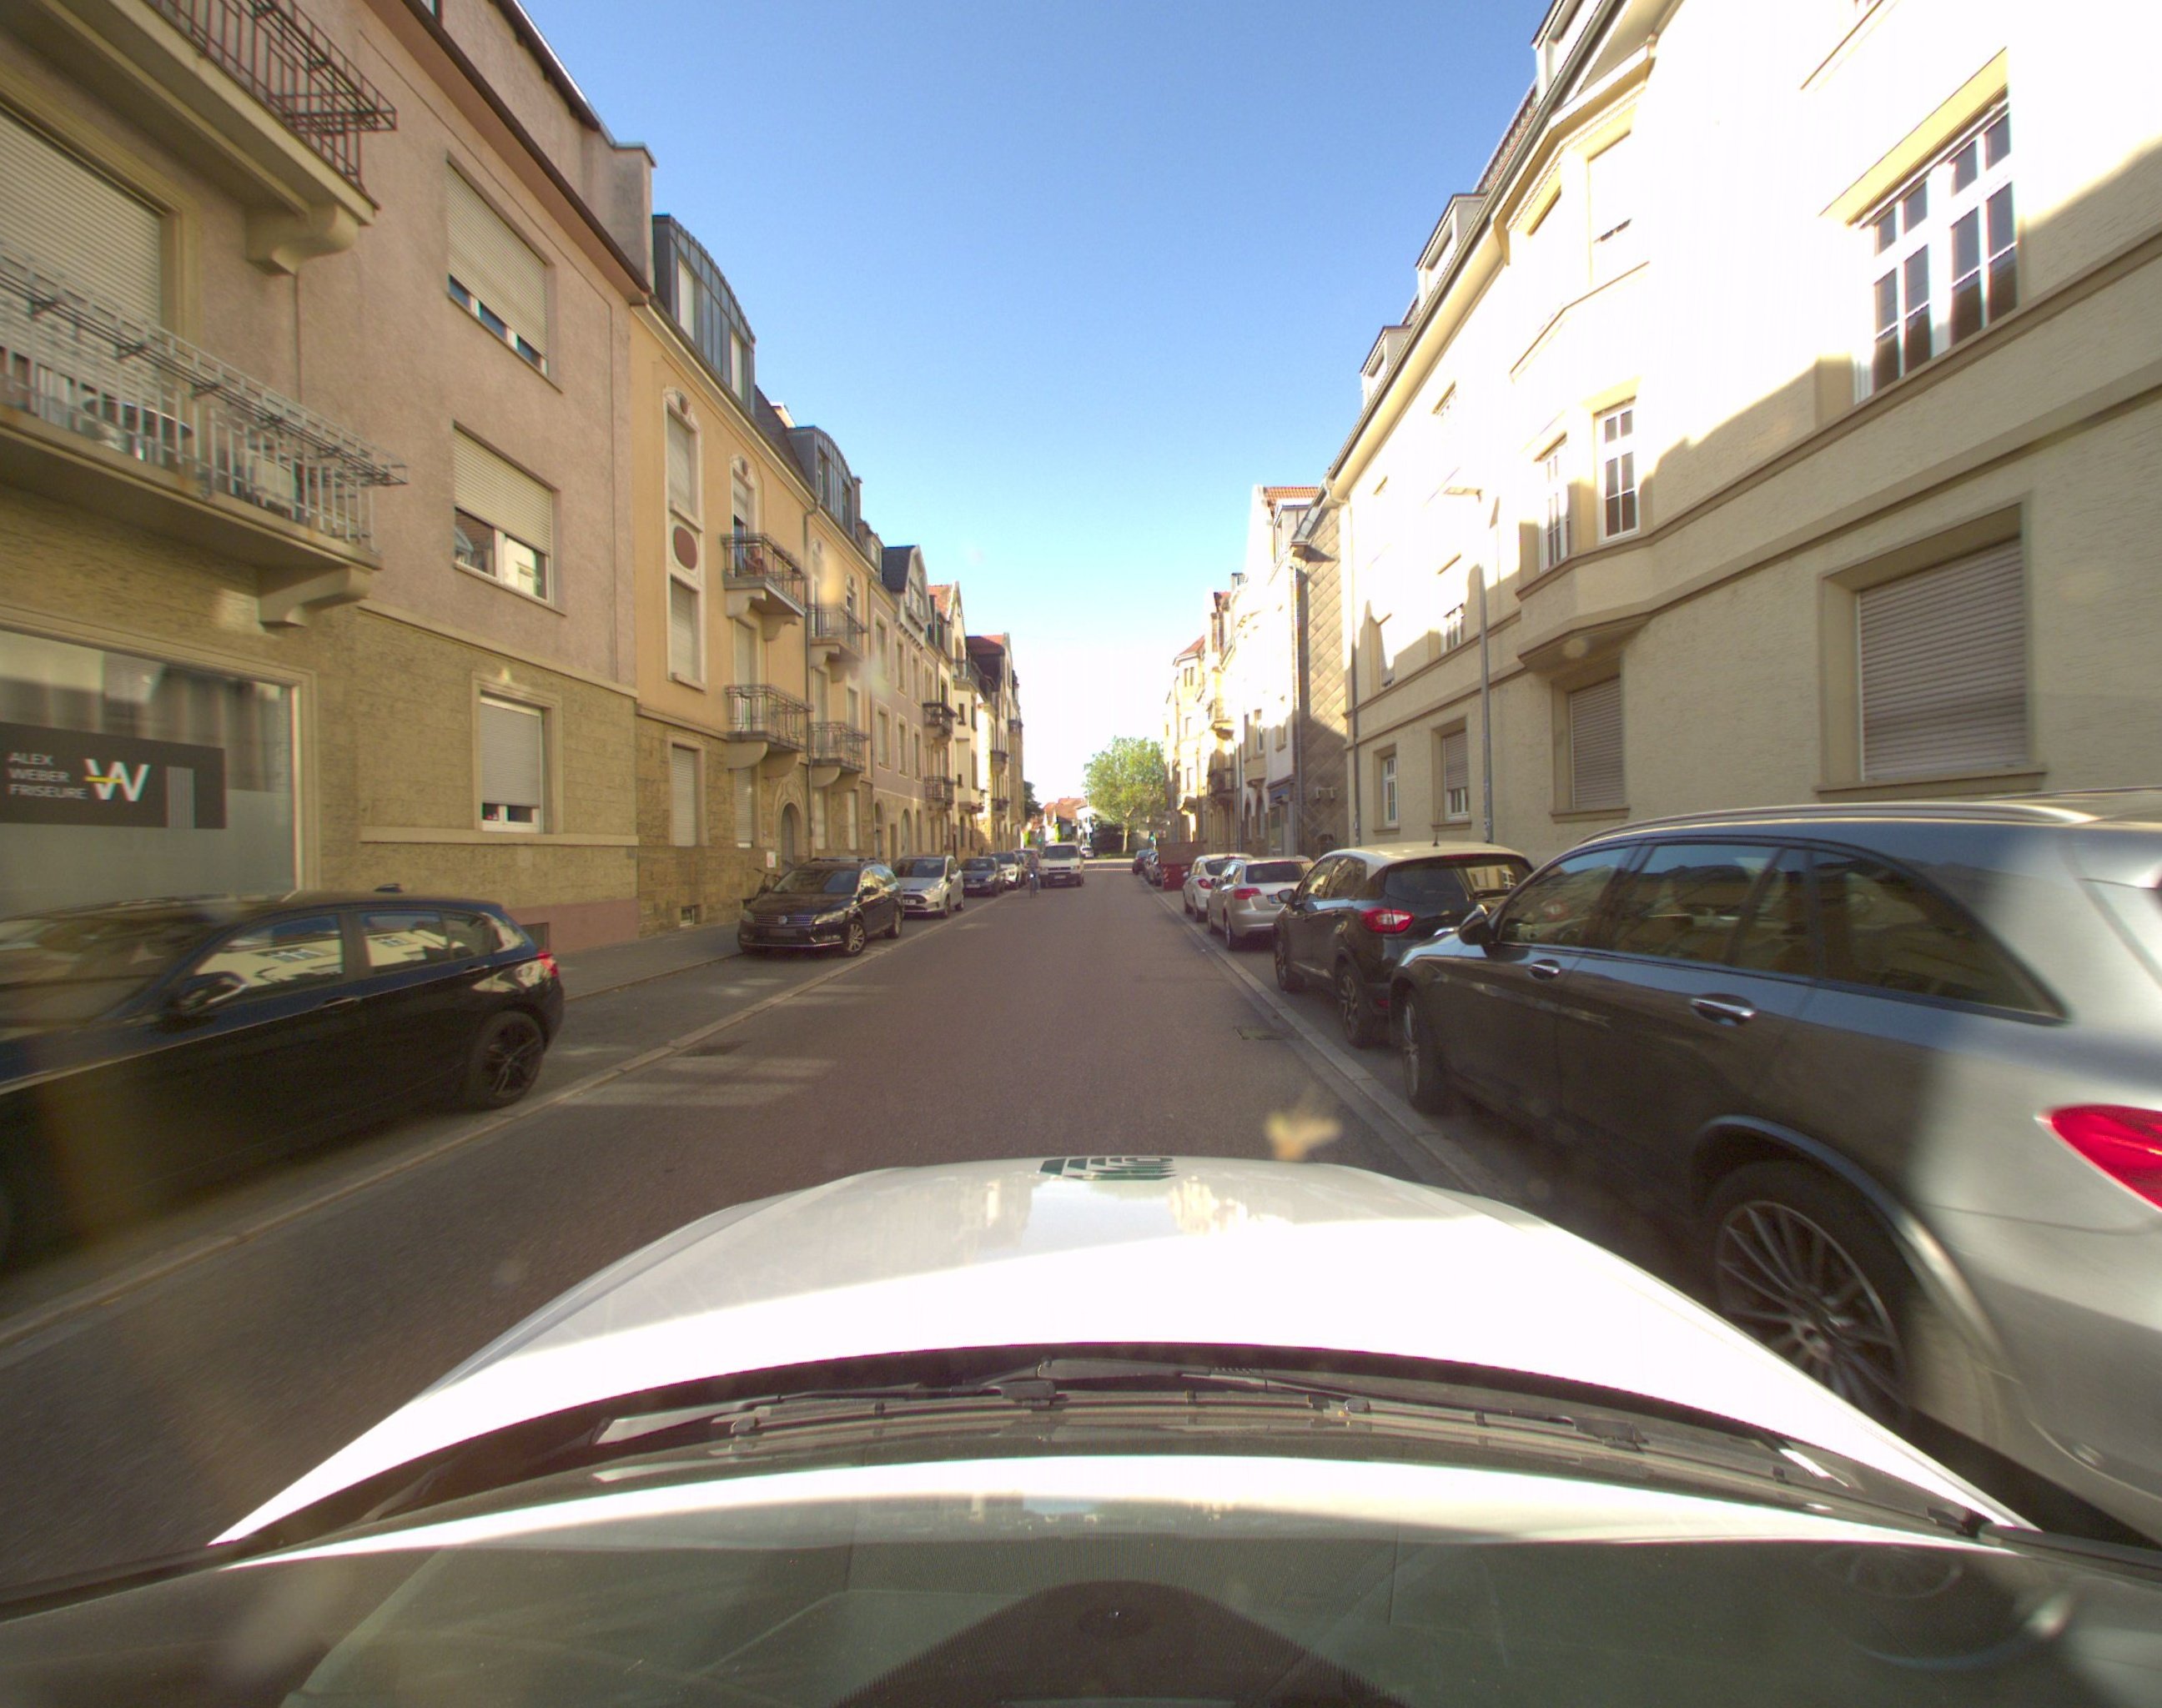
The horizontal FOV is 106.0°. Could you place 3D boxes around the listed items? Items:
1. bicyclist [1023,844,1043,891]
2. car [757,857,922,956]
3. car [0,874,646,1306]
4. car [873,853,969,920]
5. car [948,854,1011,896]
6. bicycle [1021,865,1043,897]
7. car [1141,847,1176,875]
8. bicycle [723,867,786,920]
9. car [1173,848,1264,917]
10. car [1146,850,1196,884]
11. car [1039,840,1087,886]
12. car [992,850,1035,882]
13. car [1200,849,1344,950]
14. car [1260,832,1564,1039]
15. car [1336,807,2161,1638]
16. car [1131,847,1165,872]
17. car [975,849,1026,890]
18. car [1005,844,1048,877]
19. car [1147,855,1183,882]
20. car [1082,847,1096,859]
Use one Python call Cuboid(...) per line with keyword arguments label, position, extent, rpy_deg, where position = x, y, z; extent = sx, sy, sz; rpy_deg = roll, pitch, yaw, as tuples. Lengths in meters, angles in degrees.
Cuboid(label="bicyclist", position=(-1.725, 0.490, 29.303), extent=(0.605, 1.665, 0.632), rpy_deg=(-1, 0, 2))
Cuboid(label="car", position=(-4.300, 0.855, 15.207), extent=(1.708, 1.521, 4.111), rpy_deg=(-2, 0, 1))
Cuboid(label="car", position=(-4.613, 0.904, 4.918), extent=(1.708, 1.386, 3.867), rpy_deg=(2, 1, 3))
Cuboid(label="car", position=(-4.061, 0.762, 21.274), extent=(1.709, 1.538, 3.724), rpy_deg=(-1, 1, 0))
Cuboid(label="car", position=(-3.730, 0.732, 30.440), extent=(1.665, 1.393, 3.669), rpy_deg=(2, 1, 3))
Cuboid(label="bicycle", position=(-1.733, 0.950, 29.169), extent=(0.538, 1.076, 1.802), rpy_deg=(-1, 0, 4))
Cuboid(label="car", position=(4.398, 0.376, 46.627), extent=(1.645, 1.442, 4.260), rpy_deg=(-2, 0, 1))
Cuboid(label="bicycle", position=(-7.557, 0.890, 18.938), extent=(0.662, 1.160, 1.847), rpy_deg=(0, -1, 2))
Cuboid(label="car", position=(3.233, 0.620, 19.717), extent=(1.580, 1.464, 3.712), rpy_deg=(-2, 0, 0))
Cuboid(label="car", position=(3.997, 0.544, 36.621), extent=(1.781, 1.429, 3.806), rpy_deg=(-1, 0, -1))
Cuboid(label="car", position=(-0.768, 0.356, 37.208), extent=(1.856, 1.937, 4.603), rpy_deg=(-1, 0, 2))
Cuboid(label="car", position=(-3.296, 0.547, 40.511), extent=(1.567, 1.487, 4.283), rpy_deg=(0, 0, 3))
Cuboid(label="car", position=(3.178, 0.676, 14.325), extent=(1.646, 1.464, 4.096), rpy_deg=(-2, 0, 2))
Cuboid(label="car", position=(2.984, 0.616, 8.253), extent=(1.672, 1.546, 3.919), rpy_deg=(-2, 0, 4))
Cuboid(label="car", position=(2.661, 0.711, 3.826), extent=(1.779, 1.664, 4.439), rpy_deg=(-1, 0, 4))
Cuboid(label="car", position=(4.188, 0.328, 51.479), extent=(1.858, 1.462, 4.341), rpy_deg=(-1, 0, 2))
Cuboid(label="car", position=(-3.397, 0.625, 35.057), extent=(1.709, 1.583, 4.021), rpy_deg=(2, 1, 0))
Cuboid(label="car", position=(-3.126, 0.334, 47.492), extent=(1.884, 1.722, 4.729), rpy_deg=(2, 1, 3))
Cuboid(label="car", position=(4.214, 0.703, 41.107), extent=(1.685, 1.254, 3.946), rpy_deg=(-1, 0, 5))
Cuboid(label="car", position=(1.024, -0.105, 103.675), extent=(1.668, 1.483, 3.521), rpy_deg=(0, -1, 0))
